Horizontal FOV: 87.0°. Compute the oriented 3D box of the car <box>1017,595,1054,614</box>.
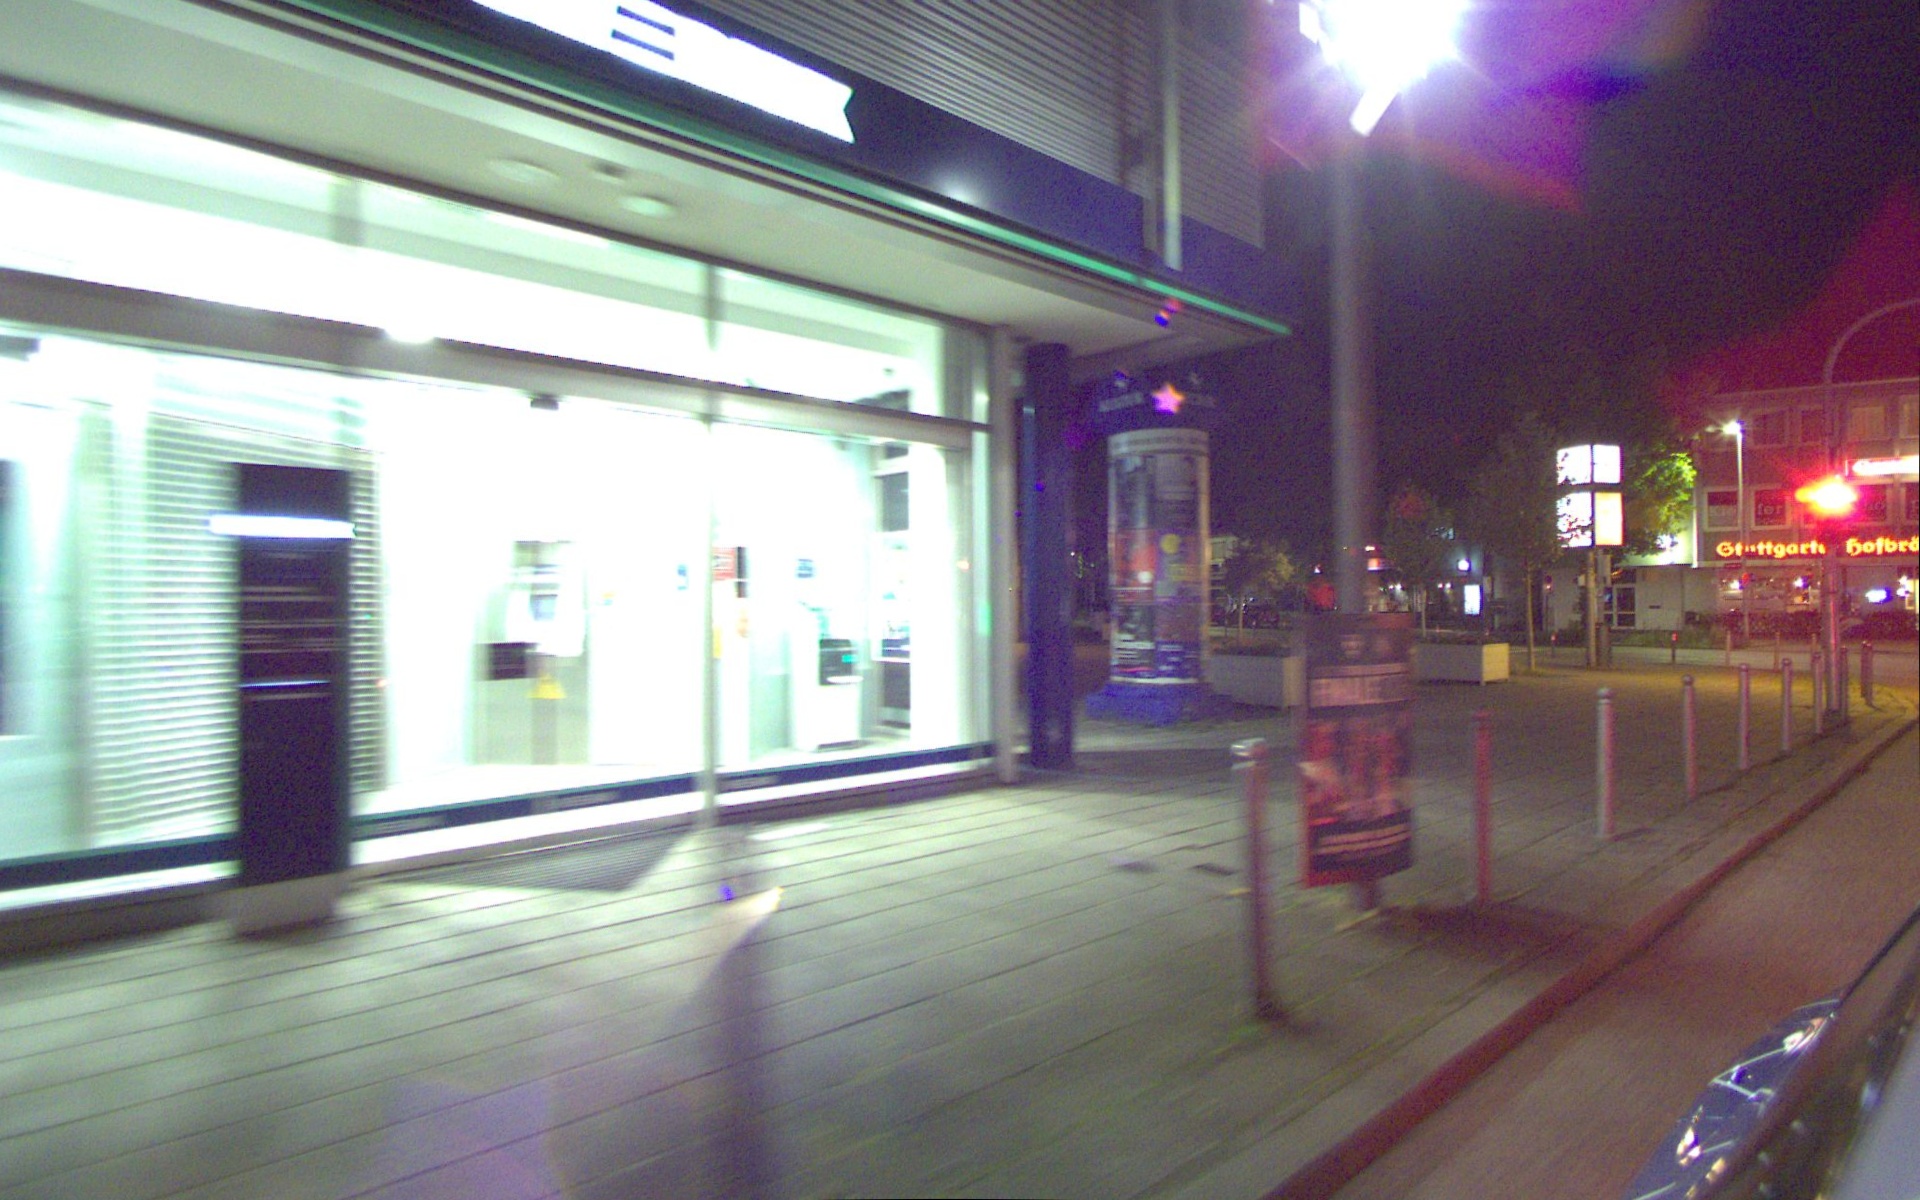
[{"bbox_3d":[6.728,0.376,90.321,1.970,1.646,3.903,1,0,-17],"label":"car"}]

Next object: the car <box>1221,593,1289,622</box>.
[{"bbox_3d":[17.983,0.453,61.844,1.836,1.674,3.869,2,0,-26],"label":"car"}]

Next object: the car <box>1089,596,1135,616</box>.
[{"bbox_3d":[11.631,0.472,77.870,1.855,1.471,3.903,1,0,-20],"label":"car"}]

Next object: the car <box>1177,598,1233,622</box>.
[{"bbox_3d":[16.013,0.621,66.309,1.855,1.471,3.903,1,0,-17],"label":"car"}]
